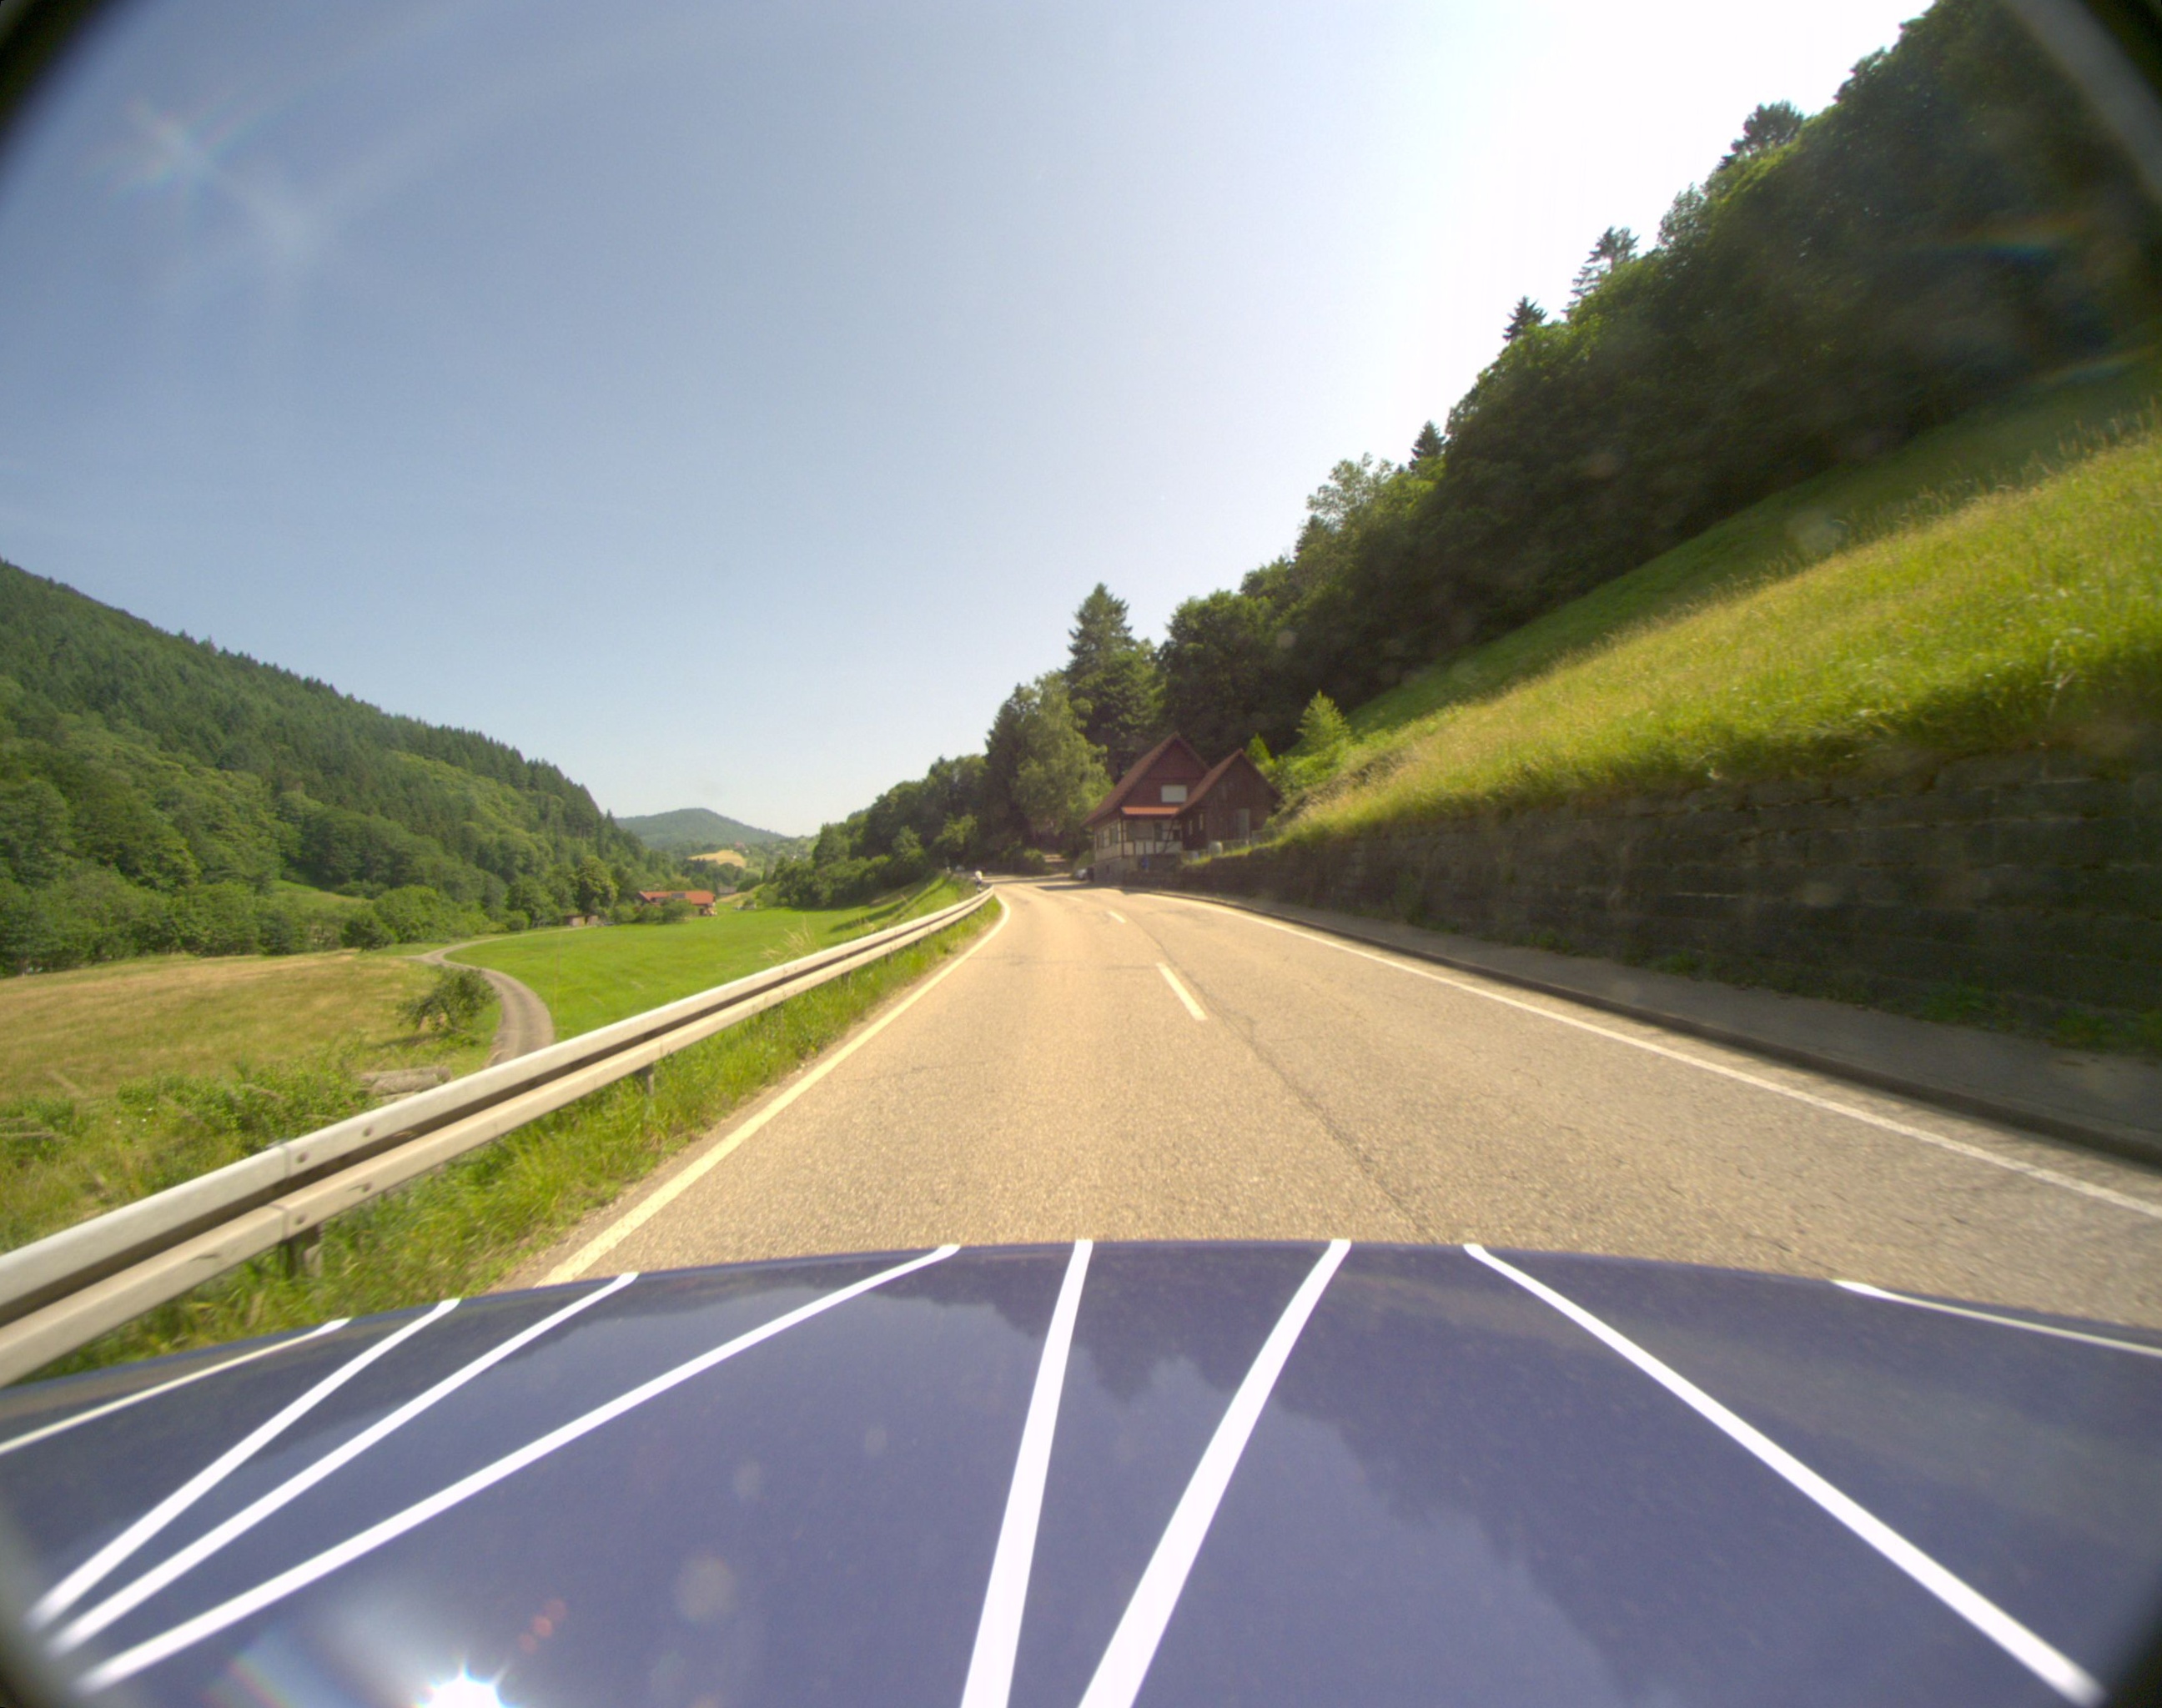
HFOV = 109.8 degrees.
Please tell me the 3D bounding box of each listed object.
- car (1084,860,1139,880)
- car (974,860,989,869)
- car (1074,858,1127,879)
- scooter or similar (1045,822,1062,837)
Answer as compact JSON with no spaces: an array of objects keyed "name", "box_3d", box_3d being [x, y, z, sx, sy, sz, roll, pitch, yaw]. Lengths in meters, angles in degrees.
[{"name":"car","box_3d":[2.294,1.196,57.459,3.830,1.424,1.861,-1,1,-14]},{"name":"car","box_3d":[-16.875,1.815,128.351,1.771,1.388,4.139,-3,1,-17]},{"name":"car","box_3d":[1.524,1.149,59.977,3.830,1.408,1.855,-3,-1,-14]},{"name":"scooter or similar","box_3d":[-4.218,-3.698,116.131,1.983,2.015,4.402,-6,1,-7]}]
